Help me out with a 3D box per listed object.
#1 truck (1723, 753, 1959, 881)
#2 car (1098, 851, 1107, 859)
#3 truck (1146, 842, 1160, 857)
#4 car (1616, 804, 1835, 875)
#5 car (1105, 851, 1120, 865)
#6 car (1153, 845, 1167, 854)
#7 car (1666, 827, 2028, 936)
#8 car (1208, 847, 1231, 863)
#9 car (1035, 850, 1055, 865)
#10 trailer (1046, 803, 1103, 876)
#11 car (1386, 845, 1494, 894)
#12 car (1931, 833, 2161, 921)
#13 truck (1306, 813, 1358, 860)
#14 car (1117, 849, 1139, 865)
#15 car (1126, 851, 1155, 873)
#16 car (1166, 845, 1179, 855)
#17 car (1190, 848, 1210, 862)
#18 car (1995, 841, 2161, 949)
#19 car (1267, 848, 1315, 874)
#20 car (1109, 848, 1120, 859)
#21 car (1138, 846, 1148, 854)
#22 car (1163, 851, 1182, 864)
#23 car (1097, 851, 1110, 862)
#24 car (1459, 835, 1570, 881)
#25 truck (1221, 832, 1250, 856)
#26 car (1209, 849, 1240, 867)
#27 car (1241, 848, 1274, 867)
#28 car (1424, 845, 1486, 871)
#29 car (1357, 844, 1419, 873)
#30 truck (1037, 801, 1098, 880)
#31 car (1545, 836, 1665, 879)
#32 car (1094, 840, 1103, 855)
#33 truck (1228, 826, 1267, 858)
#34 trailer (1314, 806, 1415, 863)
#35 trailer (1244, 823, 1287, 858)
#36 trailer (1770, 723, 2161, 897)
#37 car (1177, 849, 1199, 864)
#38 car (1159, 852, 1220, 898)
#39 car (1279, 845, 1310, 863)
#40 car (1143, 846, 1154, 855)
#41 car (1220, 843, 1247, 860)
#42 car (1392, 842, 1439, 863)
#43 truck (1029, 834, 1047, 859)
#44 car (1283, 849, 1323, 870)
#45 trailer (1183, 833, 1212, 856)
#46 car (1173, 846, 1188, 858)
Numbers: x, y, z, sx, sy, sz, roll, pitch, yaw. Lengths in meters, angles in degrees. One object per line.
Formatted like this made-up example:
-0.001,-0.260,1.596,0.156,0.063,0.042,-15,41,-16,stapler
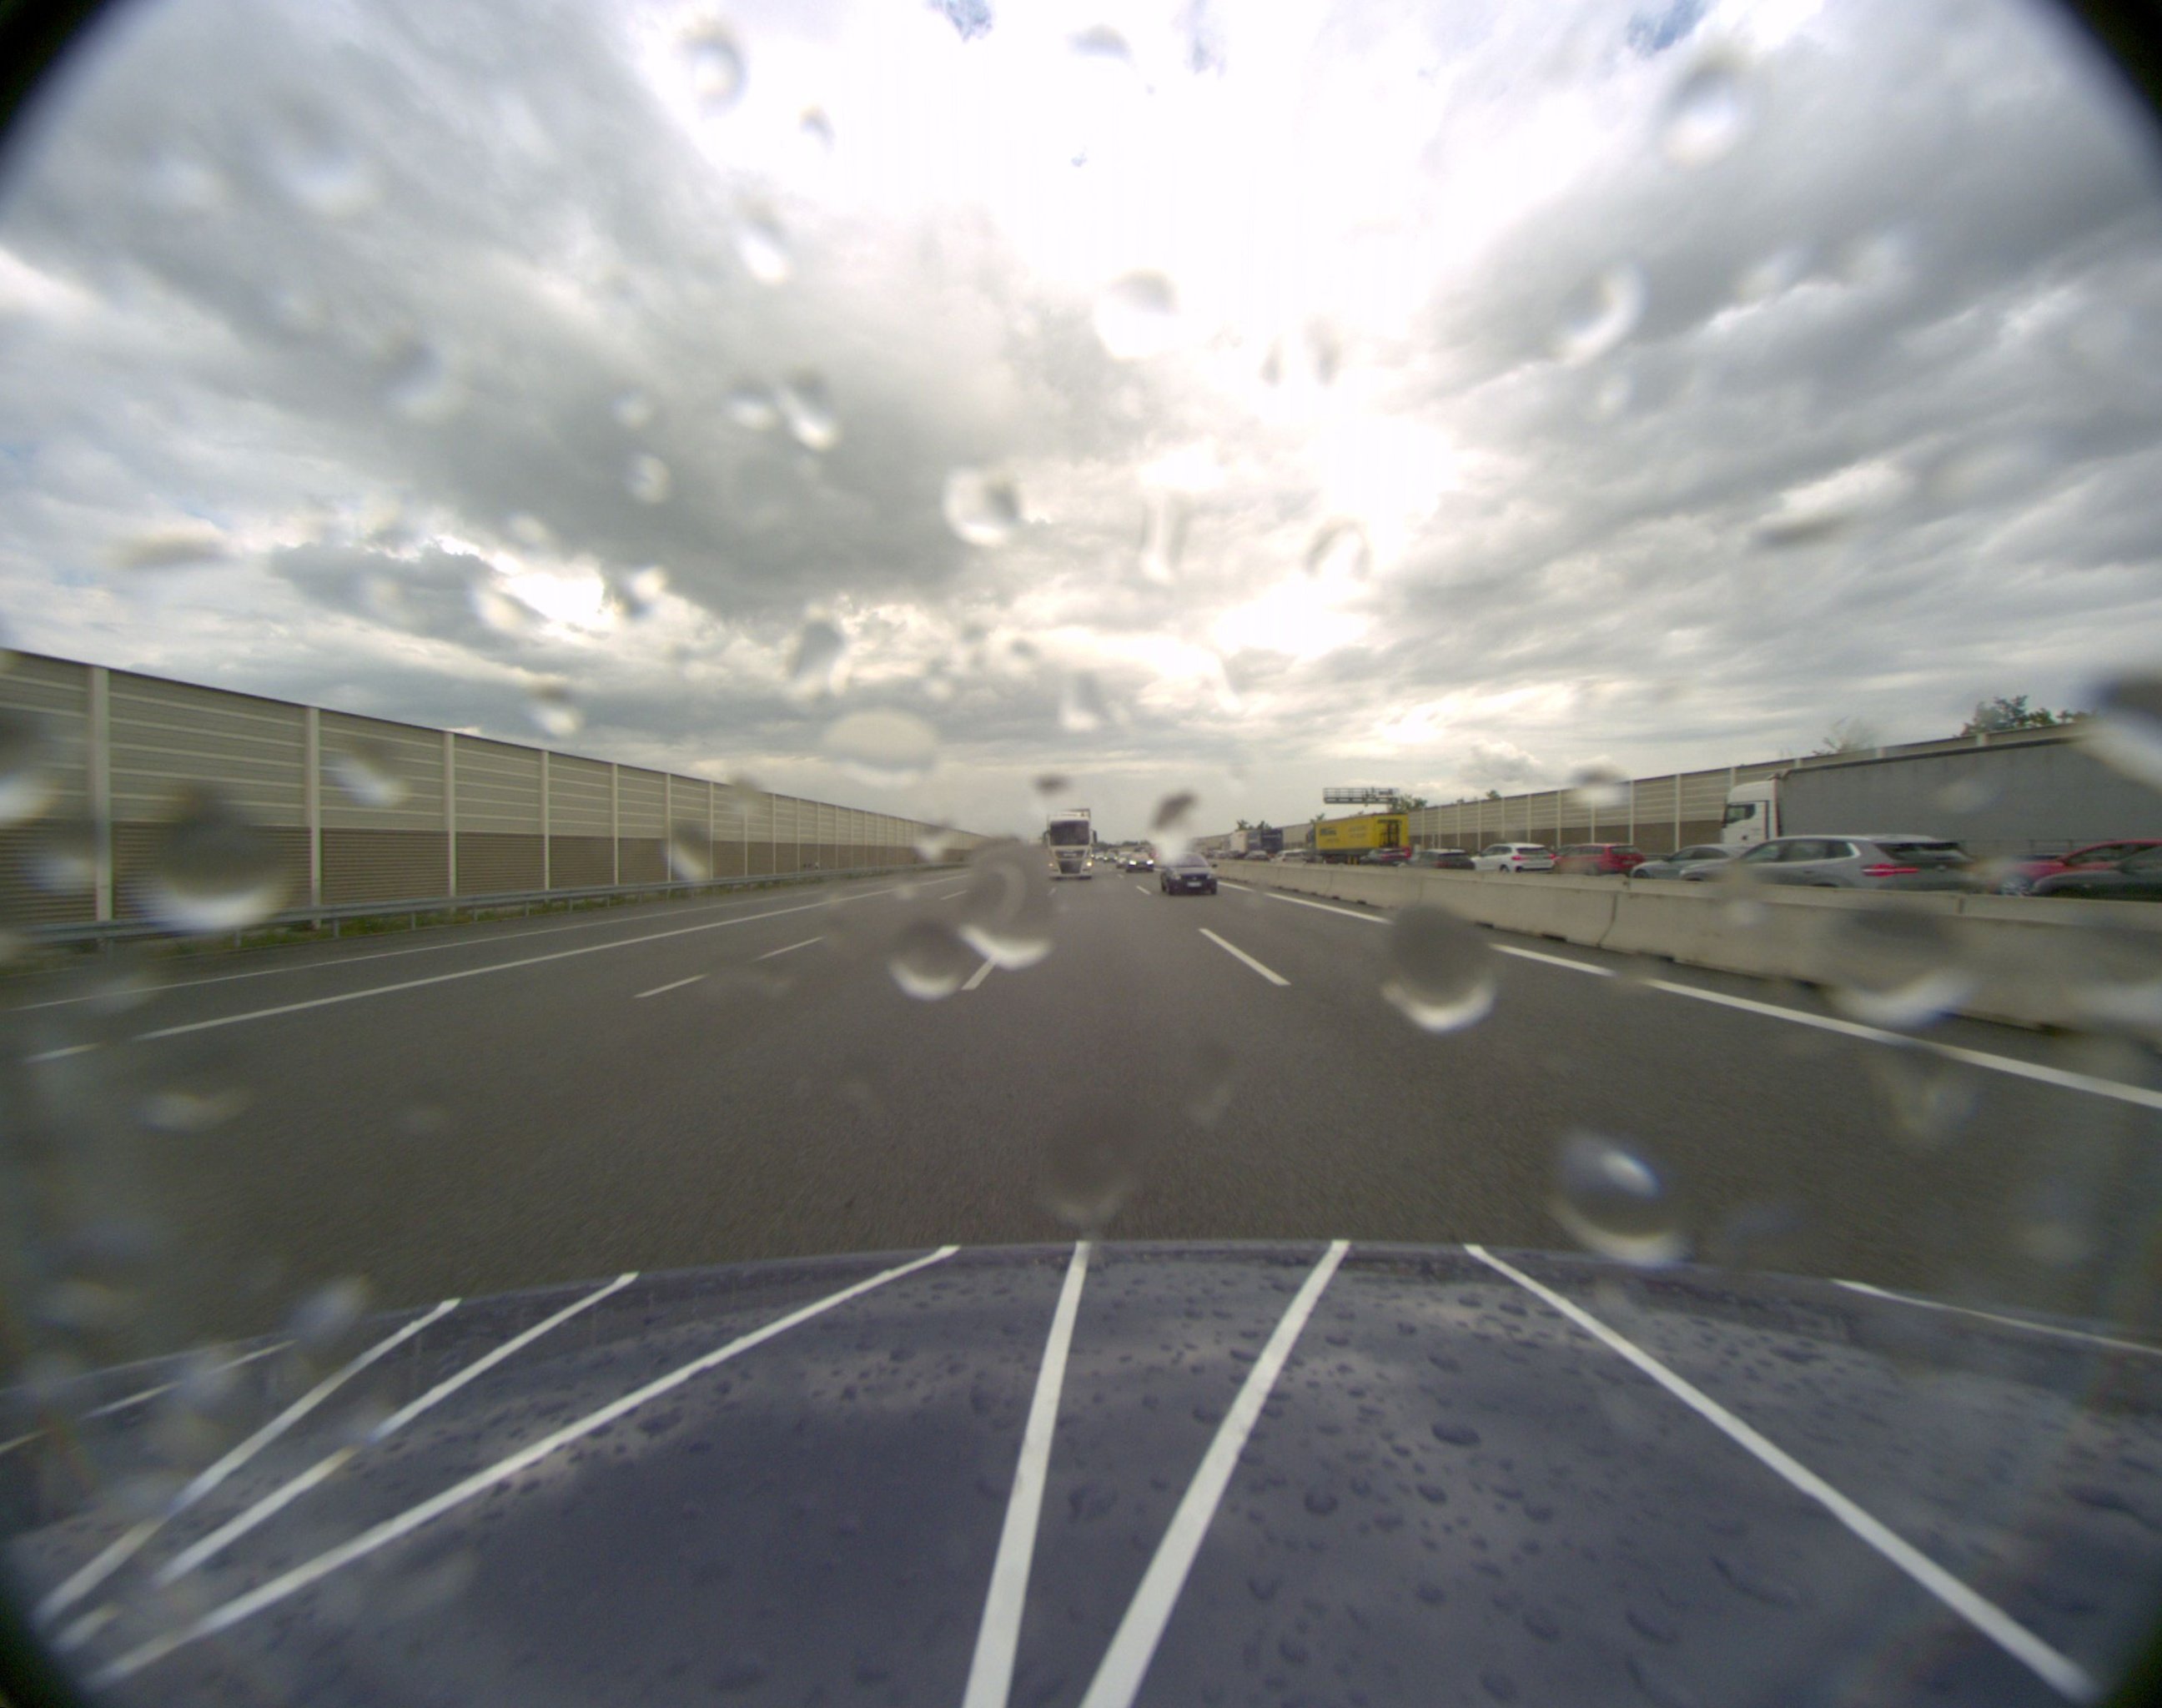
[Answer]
26.630,-1.209,27.059,2.751,4.011,5.725,-1,1,1,truck
3.890,0.128,137.680,1.498,1.395,4.000,-1,1,1,car
24.323,-1.629,256.580,3.225,4.829,11.695,-1,0,-1,truck
18.579,-0.377,22.336,2.066,1.805,5.113,-1,0,-1,car
3.356,0.400,80.748,1.498,1.395,4.000,-1,1,1,car
14.202,-0.734,136.792,2.066,1.555,5.807,-1,0,0,car
14.099,0.435,14.552,1.960,1.690,4.892,-1,0,-1,car
18.884,0.119,103.799,2.066,1.991,5.807,-1,0,-1,car
-3.569,0.339,75.461,1.698,1.395,4.000,-1,1,1,car
-0.200,-0.913,51.153,2.925,4.188,13.198,-2,1,3,trailer
14.530,0.568,31.094,2.066,1.805,4.778,-1,0,-1,car
21.600,0.417,16.211,1.960,1.690,4.410,-1,0,-1,car
22.589,-1.564,68.765,2.752,4.011,5.725,-1,1,0,truck
4.253,0.252,69.099,1.732,1.395,4.000,-1,1,1,car
4.253,0.523,54.954,1.776,1.451,4.480,-1,1,1,car
18.344,-0.800,152.434,1.938,1.886,5.432,-1,0,0,car
18.329,0.119,117.412,2.066,1.991,5.807,-1,0,0,car
18.180,0.649,12.080,1.960,1.690,4.410,-1,0,-1,car
14.681,0.442,53.443,2.066,1.690,4.410,-1,0,-1,car
4.802,-0.084,109.169,1.498,1.395,4.000,-1,1,1,car
14.052,-0.909,172.063,1.817,1.622,4.208,-1,0,-2,car
14.620,0.551,121.580,2.066,1.991,5.806,-1,0,-1,car
2.857,0.313,96.572,1.498,1.395,4.000,-1,1,1,car
18.832,0.163,33.295,2.066,1.805,4.778,-1,0,-1,car
26.153,-1.698,129.241,2.693,3.876,10.499,-1,0,0,truck
14.793,0.346,78.780,2.066,1.745,5.807,-1,0,-1,car
18.562,0.303,80.121,2.066,1.881,5.807,-1,0,-1,car
25.978,0.248,52.969,2.066,1.690,4.410,-1,0,-1,car
19.141,0.286,47.613,2.066,1.690,4.410,-1,0,-1,car
-0.650,-0.752,43.614,2.912,4.146,5.193,-2,1,4,truck
22.355,0.128,32.667,2.066,1.690,4.410,-1,0,-1,car
3.765,-1.335,160.086,1.644,3.041,4.590,-1,1,4,car
22.438,-1.564,103.179,2.945,3.922,11.066,-1,0,1,truck
22.582,-1.494,61.760,2.768,4.008,14.450,-1,1,0,trailer
22.318,-1.549,92.555,2.938,3.916,10.119,-1,0,1,trailer
26.458,-1.082,20.565,2.768,4.008,14.452,-1,1,1,trailer
14.677,0.311,104.550,2.066,1.991,5.807,-1,0,-1,car
3.684,0.672,26.363,1.578,1.395,4.000,-1,1,1,car
25.393,-0.021,90.502,2.066,1.991,5.296,-1,0,-1,car
17.701,-0.951,200.130,2.031,2.459,5.147,-1,0,-3,car
18.718,-0.322,93.789,2.066,1.991,5.807,-1,0,-1,car
28.452,-0.146,64.770,2.066,1.690,4.410,-1,0,-1,car
-7.321,-1.327,130.170,2.599,4.088,11.369,-1,1,-1,truck
19.123,0.465,65.609,2.066,1.690,4.410,-1,0,-1,car
22.000,-1.732,144.363,3.066,4.136,14.314,-1,0,0,trailer
18.279,-0.392,140.033,2.066,2.146,5.432,-1,0,0,car
